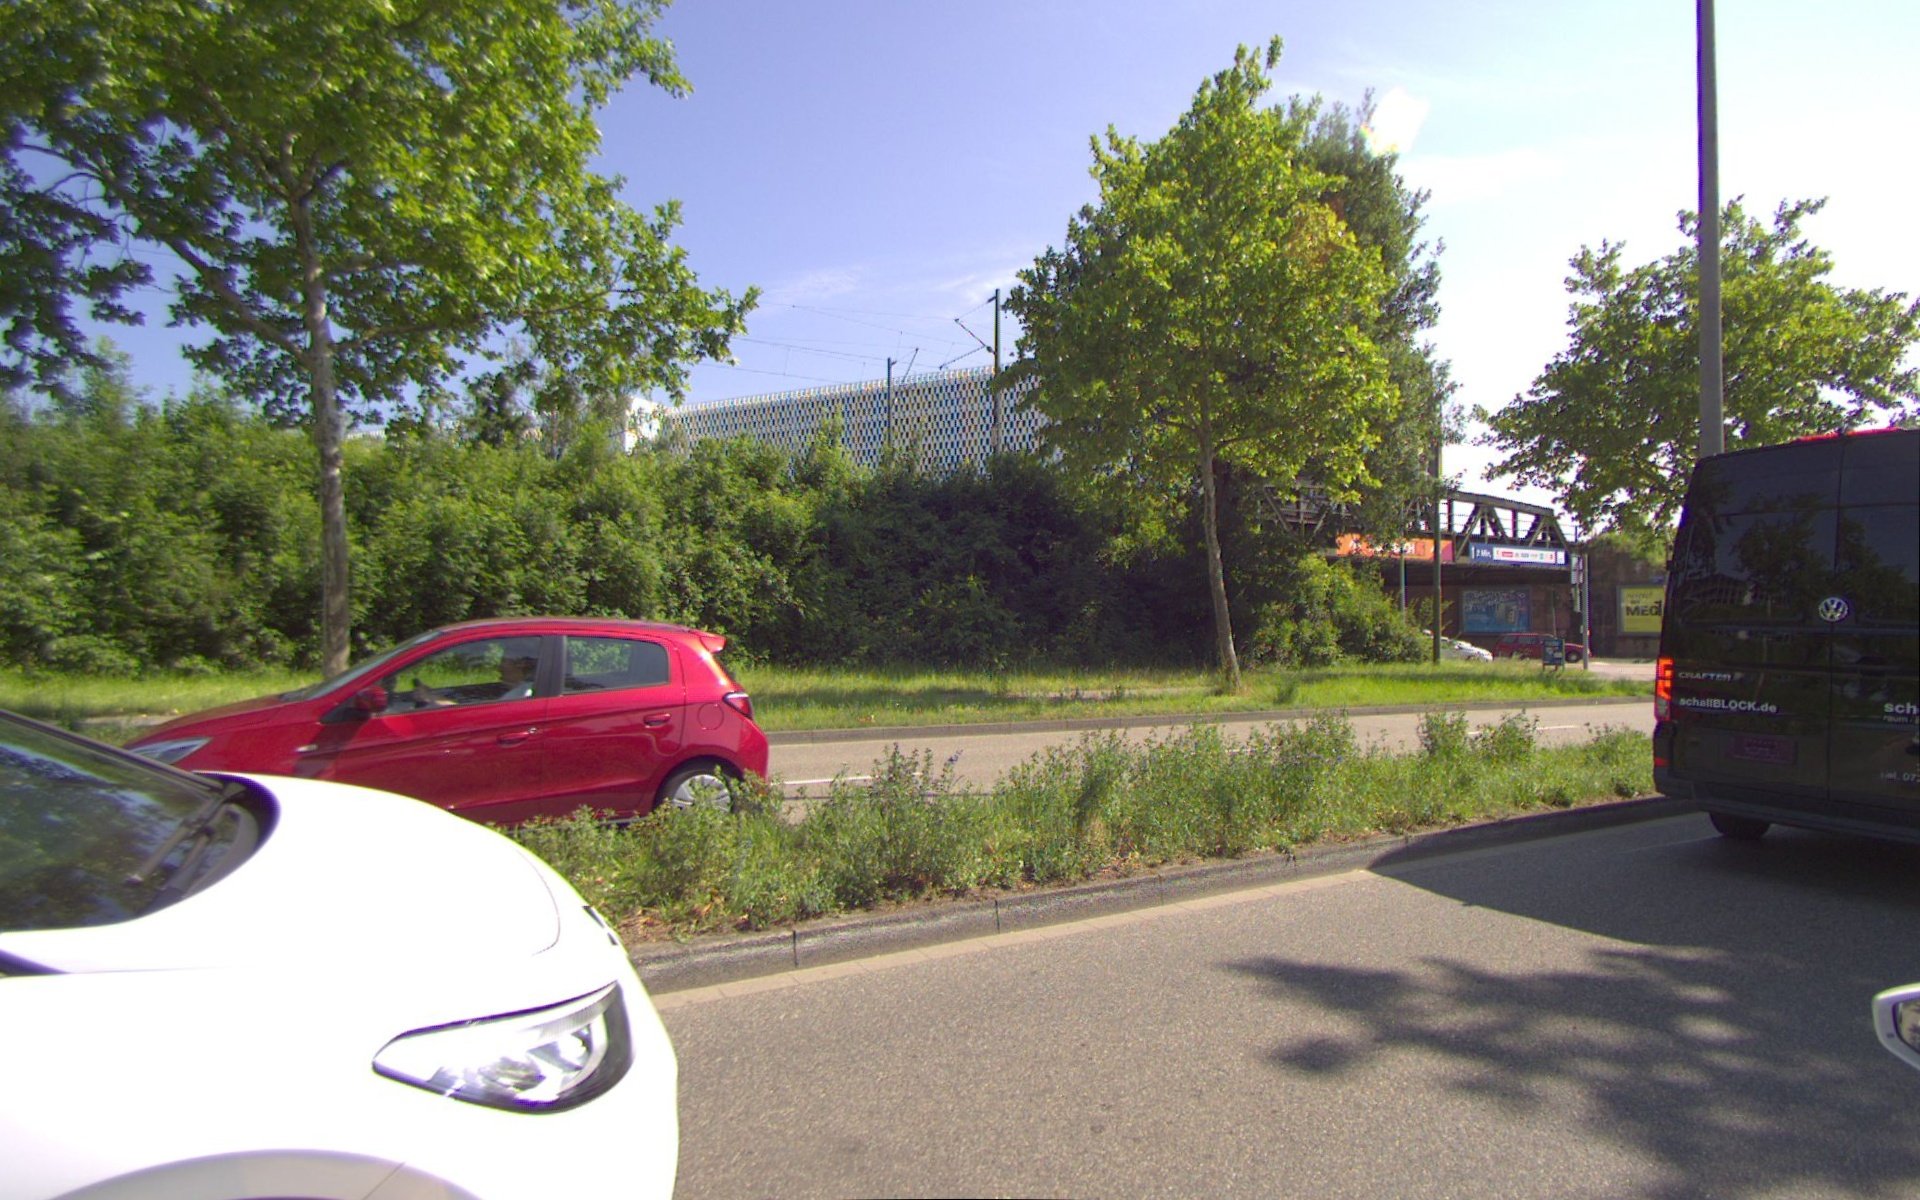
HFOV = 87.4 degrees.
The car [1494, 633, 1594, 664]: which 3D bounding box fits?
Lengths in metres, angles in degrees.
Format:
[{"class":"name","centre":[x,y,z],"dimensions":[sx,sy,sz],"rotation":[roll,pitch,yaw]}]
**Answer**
[{"class":"car","centre":[29.292,2.418,50.510],"dimensions":[4.251,1.445,1.485],"rotation":[0,-2,27]}]

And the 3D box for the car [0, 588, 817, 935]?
[{"class":"car","centre":[-3.200,0.799,6.458],"dimensions":[4.127,1.604,1.845],"rotation":[2,-1,-31]}]

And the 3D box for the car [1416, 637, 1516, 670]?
[{"class":"car","centre":[22.586,2.358,44.895],"dimensions":[3.927,1.363,1.880],"rotation":[0,-2,28]}]

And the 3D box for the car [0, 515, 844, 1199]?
[{"class":"car","centre":[-2.427,0.660,1.294],"dimensions":[4.158,1.541,1.811],"rotation":[1,-1,-30]}]

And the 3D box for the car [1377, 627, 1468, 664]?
[{"class":"car","centre":[23.028,2.251,50.037],"dimensions":[4.055,1.754,1.880],"rotation":[0,-2,28]}]

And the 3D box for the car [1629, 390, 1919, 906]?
[{"class":"car","centre":[7.381,0.327,6.989],"dimensions":[6.095,2.642,2.007],"rotation":[2,-1,-30]}]
